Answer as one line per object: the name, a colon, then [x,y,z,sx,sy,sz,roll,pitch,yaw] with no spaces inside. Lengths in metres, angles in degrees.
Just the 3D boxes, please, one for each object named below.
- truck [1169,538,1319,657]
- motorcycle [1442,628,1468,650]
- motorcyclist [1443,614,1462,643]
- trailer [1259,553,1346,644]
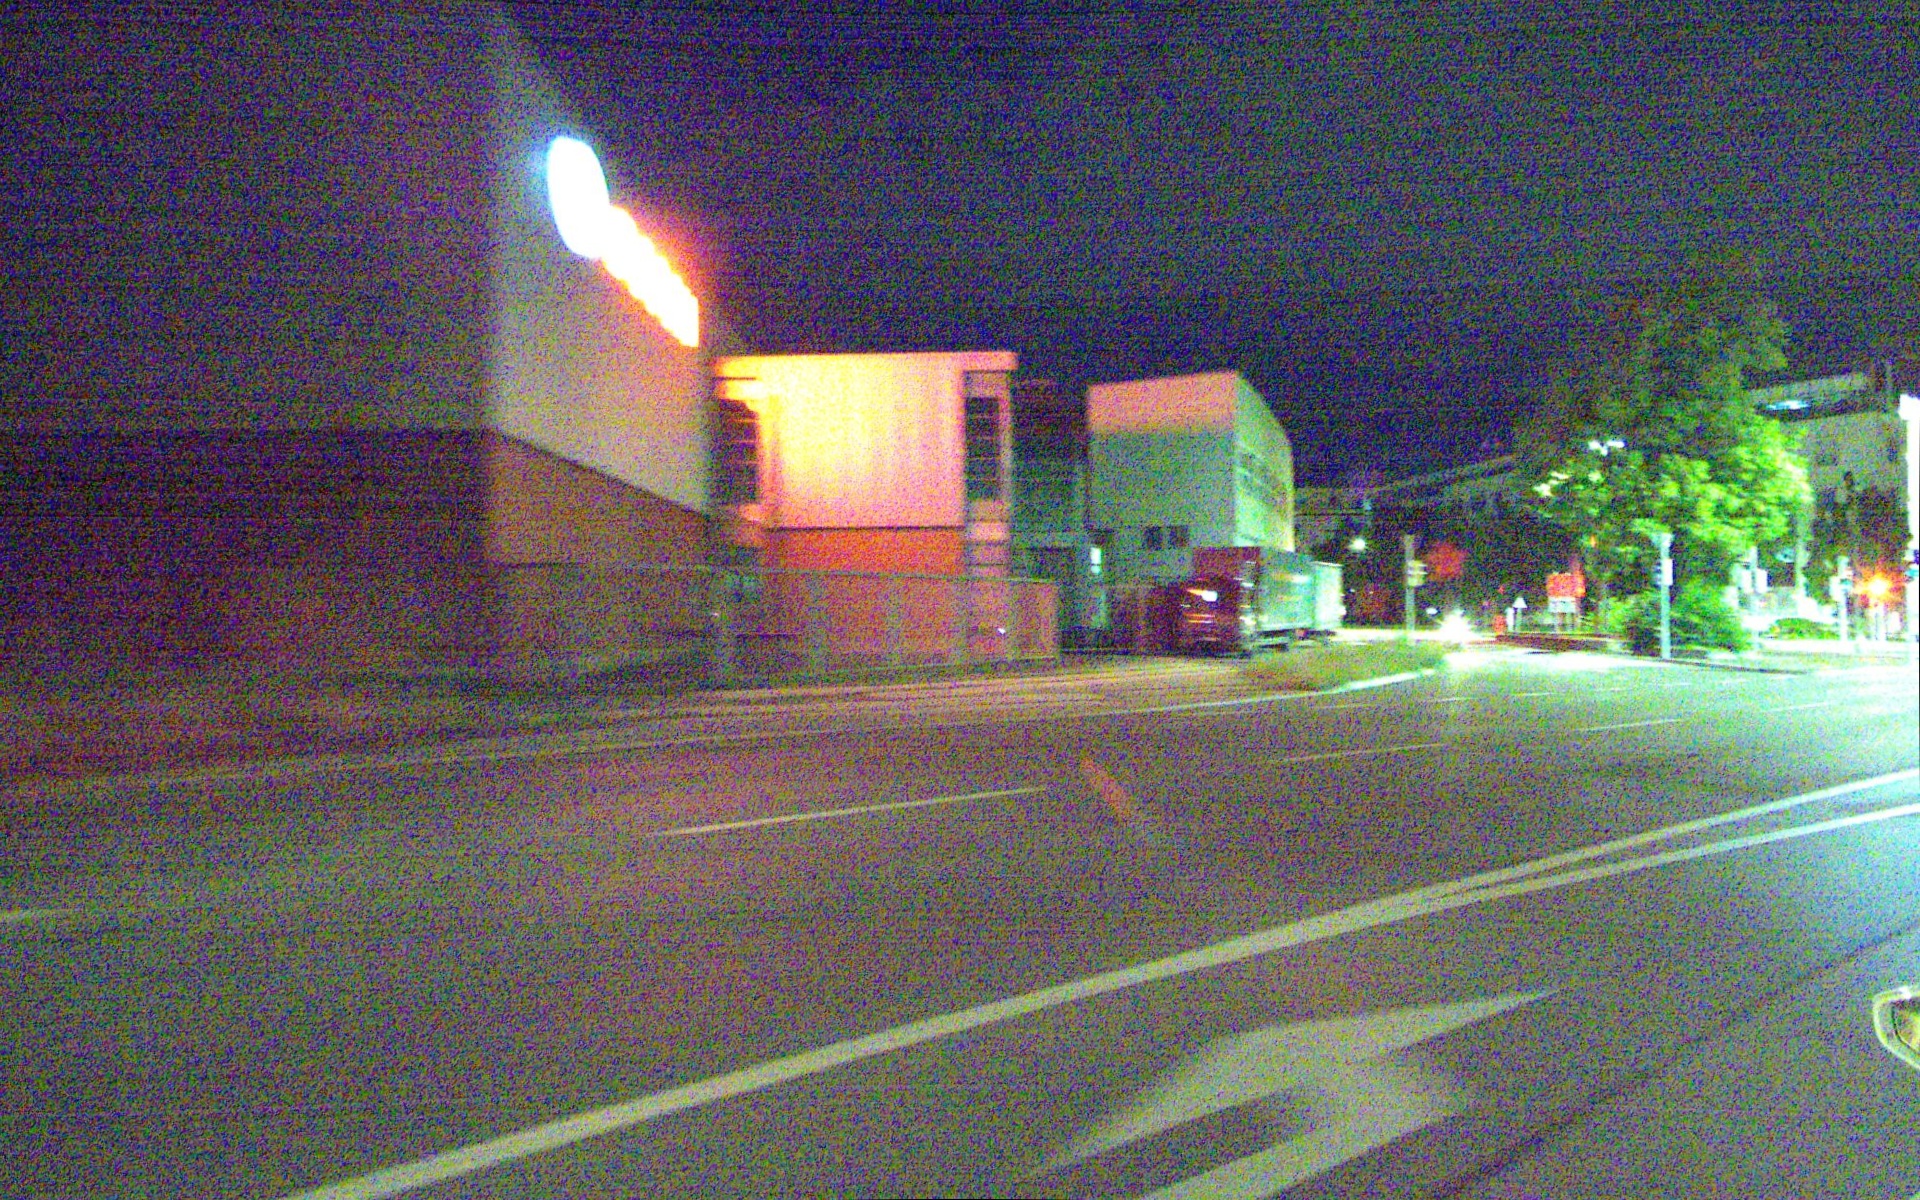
truck: [10.802,0.018,37.312,2.896,3.847,9.536,1,-1,31]
motorcycle: [21.675,1.694,44.008,0.568,0.908,2.156,-2,-2,15]
motorcyclist: [21.537,1.241,43.898,0.635,1.278,0.579,1,-1,16]
trailer: [15.724,0.018,45.889,2.575,3.841,6.503,1,-1,29]
